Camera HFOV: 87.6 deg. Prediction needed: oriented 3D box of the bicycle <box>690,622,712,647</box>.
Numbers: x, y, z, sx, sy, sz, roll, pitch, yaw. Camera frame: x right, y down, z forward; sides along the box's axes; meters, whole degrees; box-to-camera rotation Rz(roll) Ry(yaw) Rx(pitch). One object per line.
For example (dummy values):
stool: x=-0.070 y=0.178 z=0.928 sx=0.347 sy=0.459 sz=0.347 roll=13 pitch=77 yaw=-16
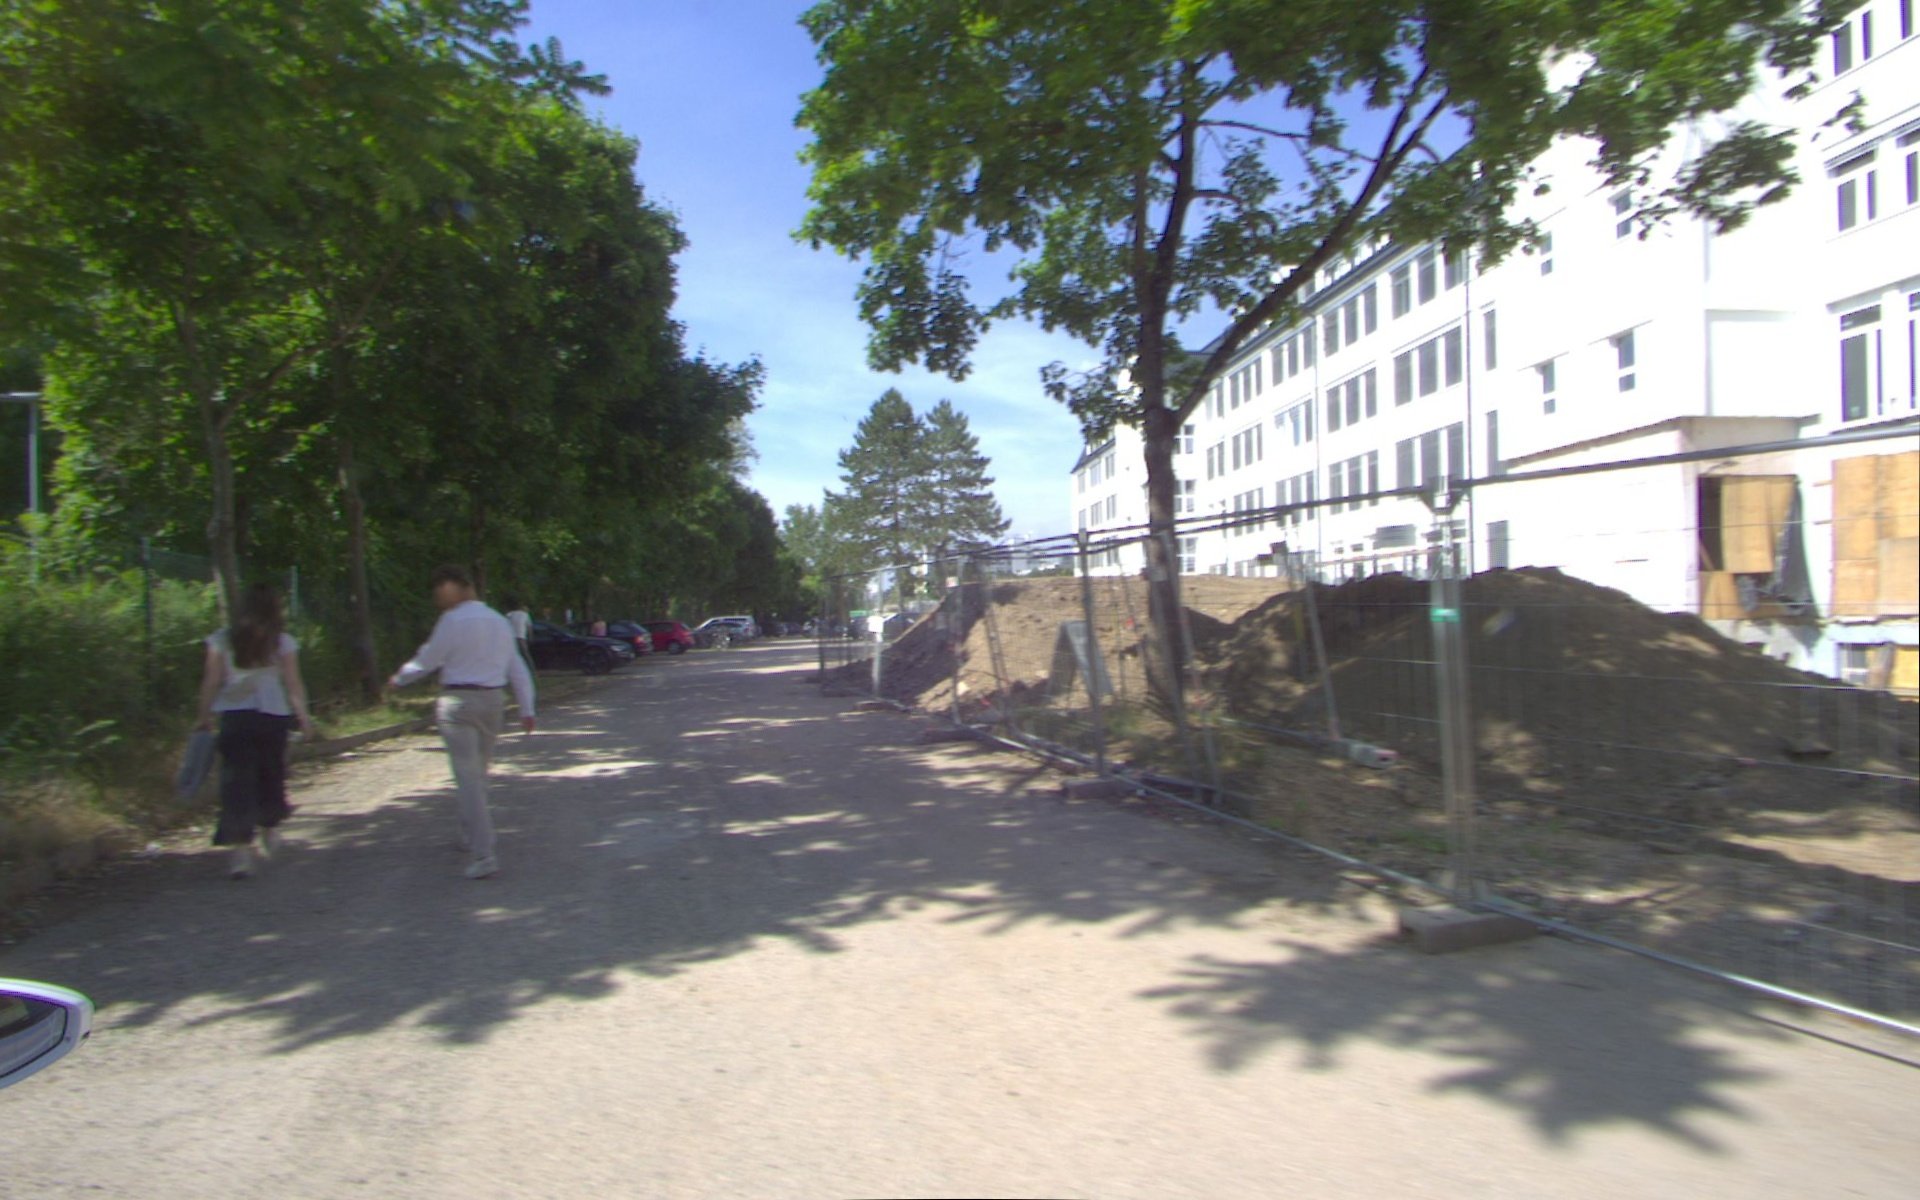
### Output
bicycle: x=-13.871 y=1.837 z=53.662 sx=0.803 sy=1.301 sz=2.683 roll=-1 pitch=-1 yaw=-7

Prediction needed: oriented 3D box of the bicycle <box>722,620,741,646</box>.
bicycle: x=-12.140 y=1.744 z=53.354 sx=0.703 sy=1.301 sz=2.636 roll=-1 pitch=-1 yaw=-7

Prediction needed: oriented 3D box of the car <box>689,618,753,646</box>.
car: x=-15.858 y=2.101 z=66.631 sx=3.922 sy=1.795 sz=1.767 roll=0 pitch=0 yaw=-4

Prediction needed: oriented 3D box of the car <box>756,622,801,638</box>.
car: x=-17.187 y=2.809 z=94.715 sx=3.922 sy=1.471 sz=1.654 roll=-1 pitch=-1 yaw=1

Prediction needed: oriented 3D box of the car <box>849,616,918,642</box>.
car: x=-5.073 y=1.912 z=66.665 sx=4.455 sy=1.639 sz=2.000 roll=-1 pitch=0 yaw=-4

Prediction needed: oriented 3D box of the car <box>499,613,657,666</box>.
car: x=-12.256 y=1.236 z=32.455 sx=4.587 sy=1.606 sz=1.996 roll=0 pitch=0 yaw=-16

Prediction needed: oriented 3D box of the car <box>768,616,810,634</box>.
car: x=-19.453 y=2.825 z=113.969 sx=4.403 sy=2.040 sz=2.000 roll=-1 pitch=0 yaw=1

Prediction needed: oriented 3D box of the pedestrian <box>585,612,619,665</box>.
pedestrian: x=-11.171 y=1.187 z=31.244 sx=0.911 sy=1.616 sz=0.784 roll=0 pitch=1 yaw=-15

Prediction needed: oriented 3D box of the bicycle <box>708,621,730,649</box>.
bicycle: x=-11.651 y=1.655 z=48.501 sx=0.703 sy=1.301 sz=2.683 roll=-1 pitch=-1 yaw=-7

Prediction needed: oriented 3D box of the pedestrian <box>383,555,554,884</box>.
pedestrian: x=-2.898 y=0.638 z=5.887 sx=0.748 sy=1.751 sz=0.847 roll=-1 pitch=1 yaw=-37

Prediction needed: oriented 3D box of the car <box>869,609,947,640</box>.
car: x=-2.911 y=1.350 z=55.677 sx=4.229 sy=1.639 sz=1.758 roll=-1 pitch=0 yaw=-4

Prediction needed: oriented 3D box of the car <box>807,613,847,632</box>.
car: x=-12.820 y=2.176 z=96.424 sx=3.959 sy=1.706 sz=1.776 roll=-1 pitch=-1 yaw=44

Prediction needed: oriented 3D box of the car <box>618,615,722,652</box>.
car: x=-12.814 y=1.484 z=44.435 sx=4.218 sy=1.544 sz=1.891 roll=-1 pitch=0 yaw=-9

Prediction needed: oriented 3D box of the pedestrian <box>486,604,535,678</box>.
pedestrian: x=-11.309 y=1.024 z=25.211 sx=0.999 sy=1.804 sz=0.818 roll=-1 pitch=0 yaw=-16

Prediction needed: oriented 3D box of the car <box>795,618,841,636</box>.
car: x=-12.409 y=2.399 z=87.527 sx=3.941 sy=1.525 sz=1.544 roll=-1 pitch=-1 yaw=31

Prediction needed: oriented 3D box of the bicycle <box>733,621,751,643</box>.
bicycle: x=-13.212 y=1.914 z=60.774 sx=0.803 sy=1.301 sz=2.745 roll=-1 pitch=-1 yaw=-7

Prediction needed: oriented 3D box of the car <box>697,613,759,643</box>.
car: x=-16.104 y=1.921 z=69.621 sx=3.922 sy=2.040 sz=1.767 roll=0 pitch=0 yaw=-4

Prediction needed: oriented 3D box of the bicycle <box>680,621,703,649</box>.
bicycle: x=-13.140 y=1.706 z=49.109 sx=0.703 sy=1.301 sz=2.790 roll=-1 pitch=-1 yaw=-7

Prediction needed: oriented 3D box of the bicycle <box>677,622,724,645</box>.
bicycle: x=-15.301 y=1.952 z=59.100 sx=2.634 sy=1.301 sz=0.818 roll=0 pitch=0 yaw=-13

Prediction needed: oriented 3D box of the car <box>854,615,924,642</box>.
car: x=-4.530 y=1.835 z=64.113 sx=4.344 sy=1.639 sz=2.000 roll=-1 pitch=0 yaw=-4

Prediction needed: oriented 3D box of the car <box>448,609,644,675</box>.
car: x=-10.883 y=1.066 z=26.706 sx=4.587 sy=1.606 sz=1.996 roll=0 pitch=0 yaw=-16

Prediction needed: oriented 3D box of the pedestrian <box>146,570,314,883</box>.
pedestrian: x=-4.225 y=0.671 z=5.838 sx=0.728 sy=1.662 sz=0.775 roll=-1 pitch=1 yaw=-35
